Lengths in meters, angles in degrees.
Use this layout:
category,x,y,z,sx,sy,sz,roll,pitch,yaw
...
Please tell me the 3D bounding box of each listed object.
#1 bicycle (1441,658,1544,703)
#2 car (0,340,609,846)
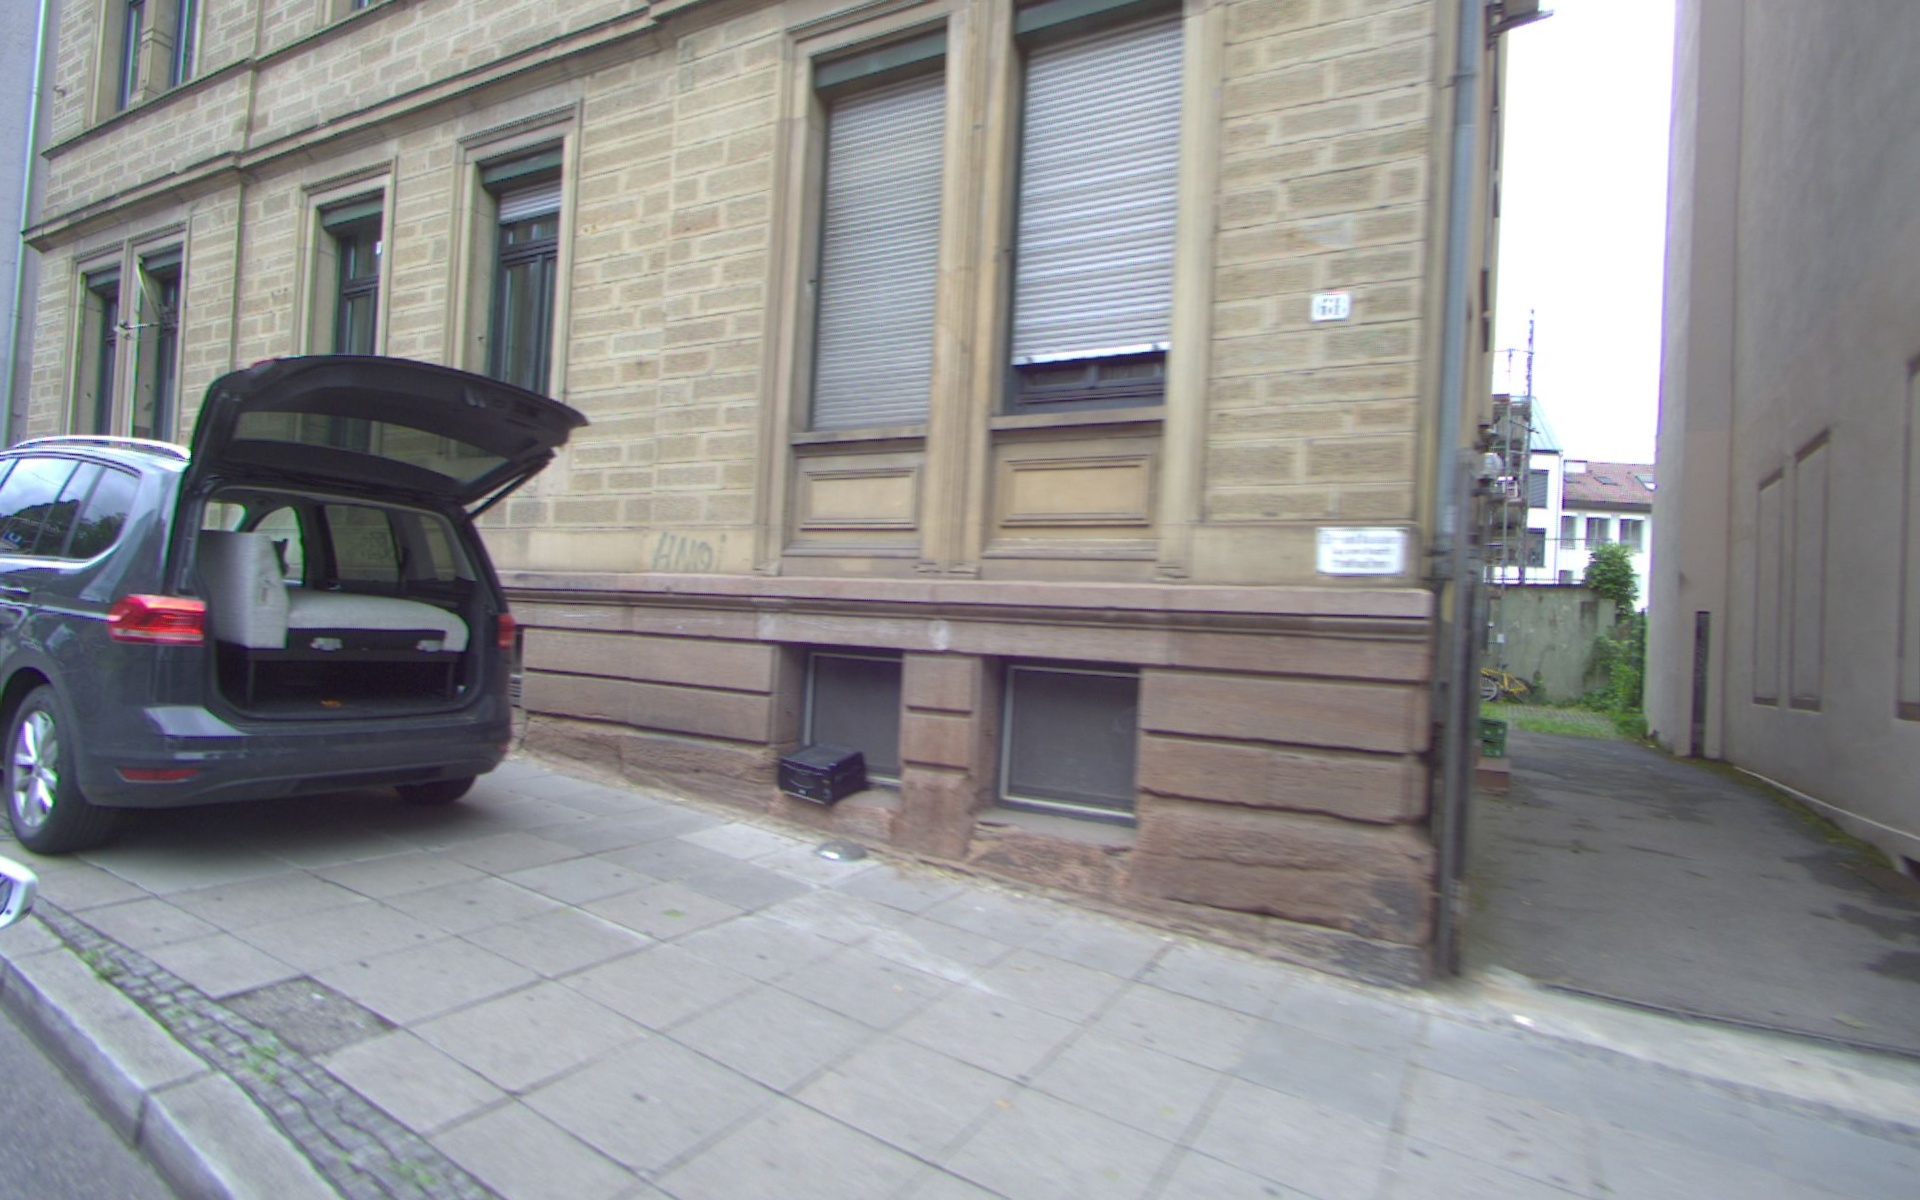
category,x,y,z,sx,sy,sz,roll,pitch,yaw
bicycle,11.318,1.699,21.399,1.854,0.700,0.575,6,-2,31
car,-4.098,-0.173,5.324,4.236,1.733,1.859,6,1,31
